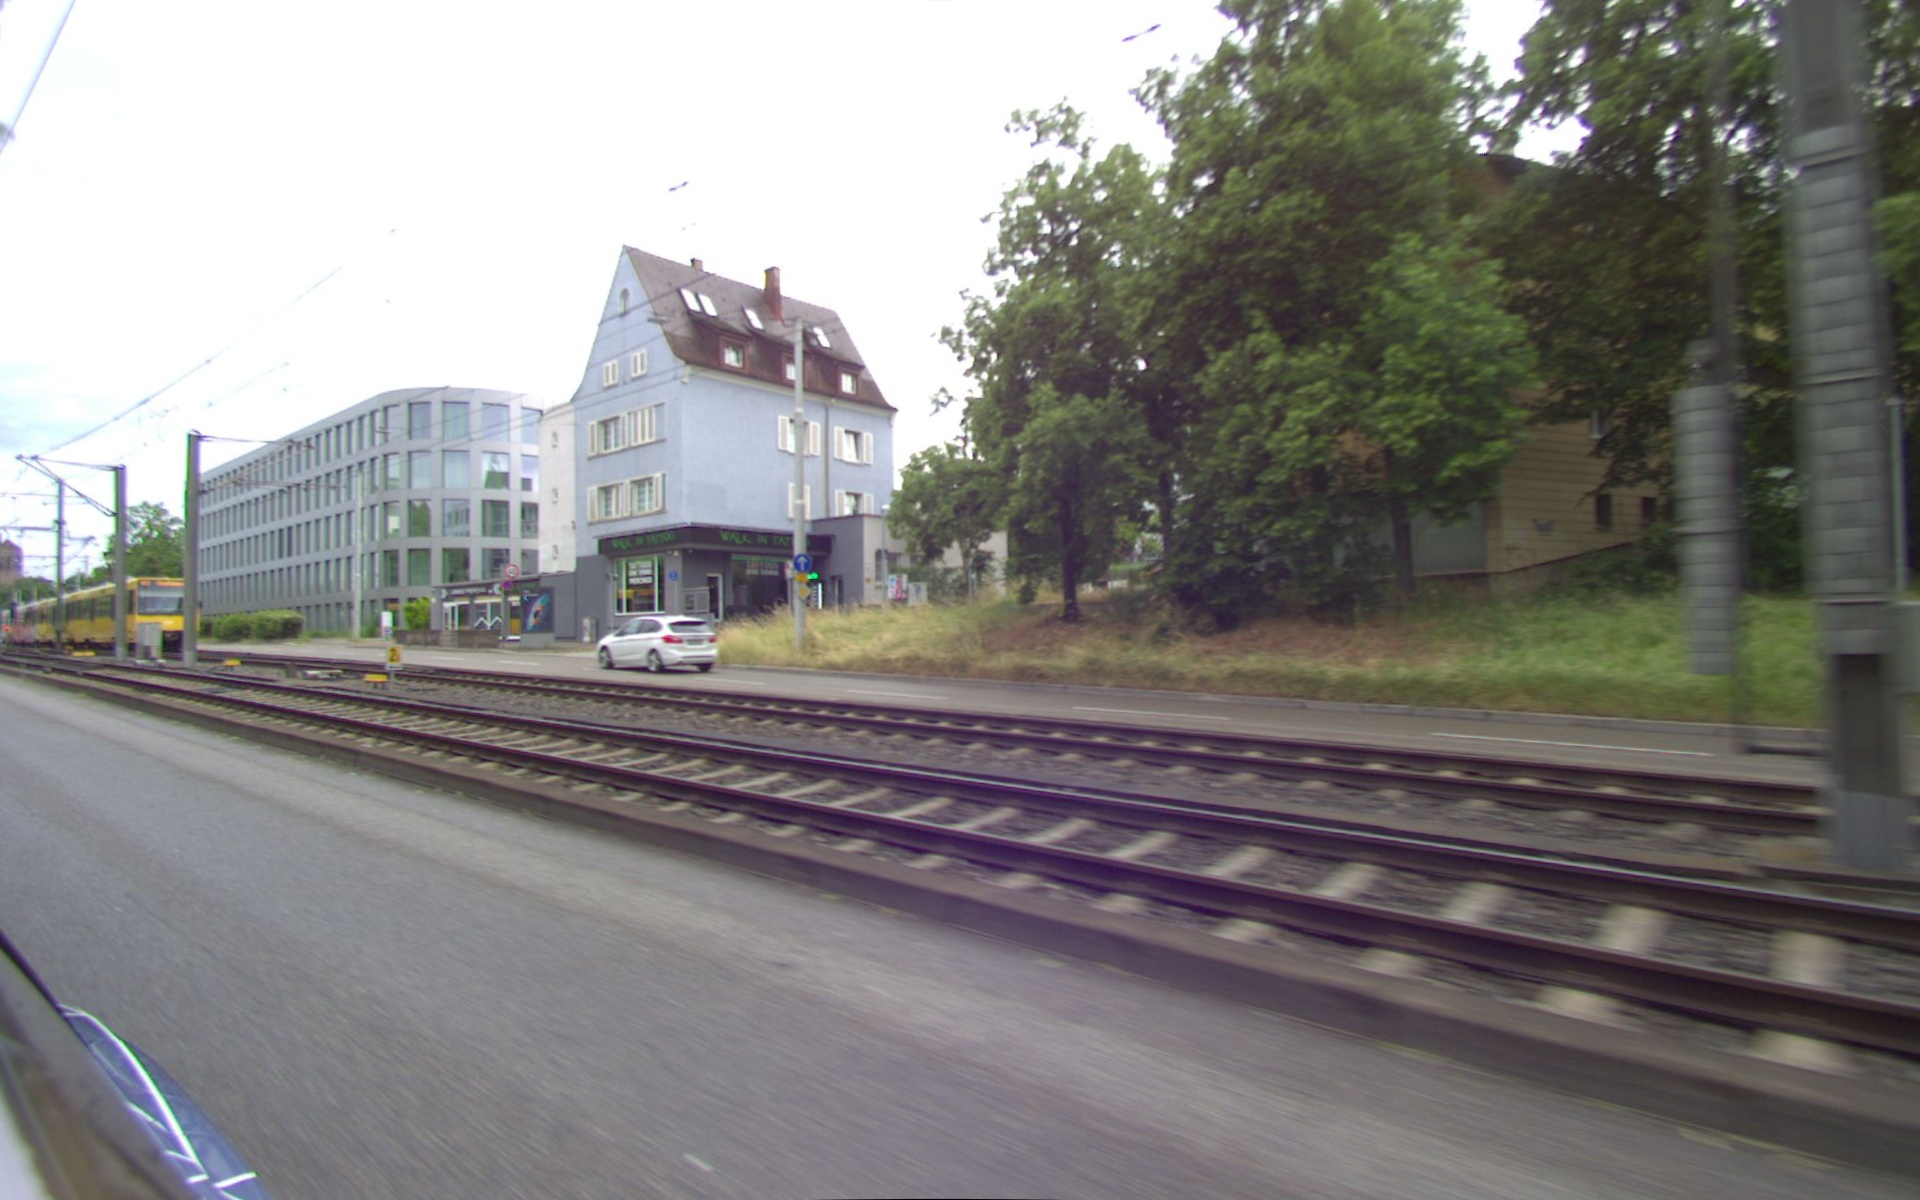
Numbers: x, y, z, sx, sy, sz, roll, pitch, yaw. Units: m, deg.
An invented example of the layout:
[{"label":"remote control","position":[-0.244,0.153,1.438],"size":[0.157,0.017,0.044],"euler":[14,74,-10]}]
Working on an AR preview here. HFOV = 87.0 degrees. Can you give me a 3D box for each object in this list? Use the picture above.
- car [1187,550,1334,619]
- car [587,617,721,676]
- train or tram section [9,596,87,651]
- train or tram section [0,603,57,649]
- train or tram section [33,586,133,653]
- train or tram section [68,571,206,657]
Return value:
[{"label":"car","position":[9.524,-0.435,32.384],"size":[1.934,2.029,4.228],"euler":[0,-1,-33]},{"label":"car","position":[-8.784,1.286,28.844],"size":[4.379,1.541,1.635],"euler":[-2,-2,42]},{"label":"train or tram section","position":[-71.243,1.904,78.851],"size":[18.613,3.840,2.935],"euler":[-2,-2,43]},{"label":"train or tram section","position":[-84.812,2.410,91.556],"size":[18.613,3.840,2.935],"euler":[-2,-2,43]},{"label":"train or tram section","position":[-57.459,1.407,65.967],"size":[19.097,3.840,2.935],"euler":[-2,-2,43]},{"label":"train or tram section","position":[-43.322,0.883,52.795],"size":[19.518,3.840,2.935],"euler":[-2,-2,43]}]
